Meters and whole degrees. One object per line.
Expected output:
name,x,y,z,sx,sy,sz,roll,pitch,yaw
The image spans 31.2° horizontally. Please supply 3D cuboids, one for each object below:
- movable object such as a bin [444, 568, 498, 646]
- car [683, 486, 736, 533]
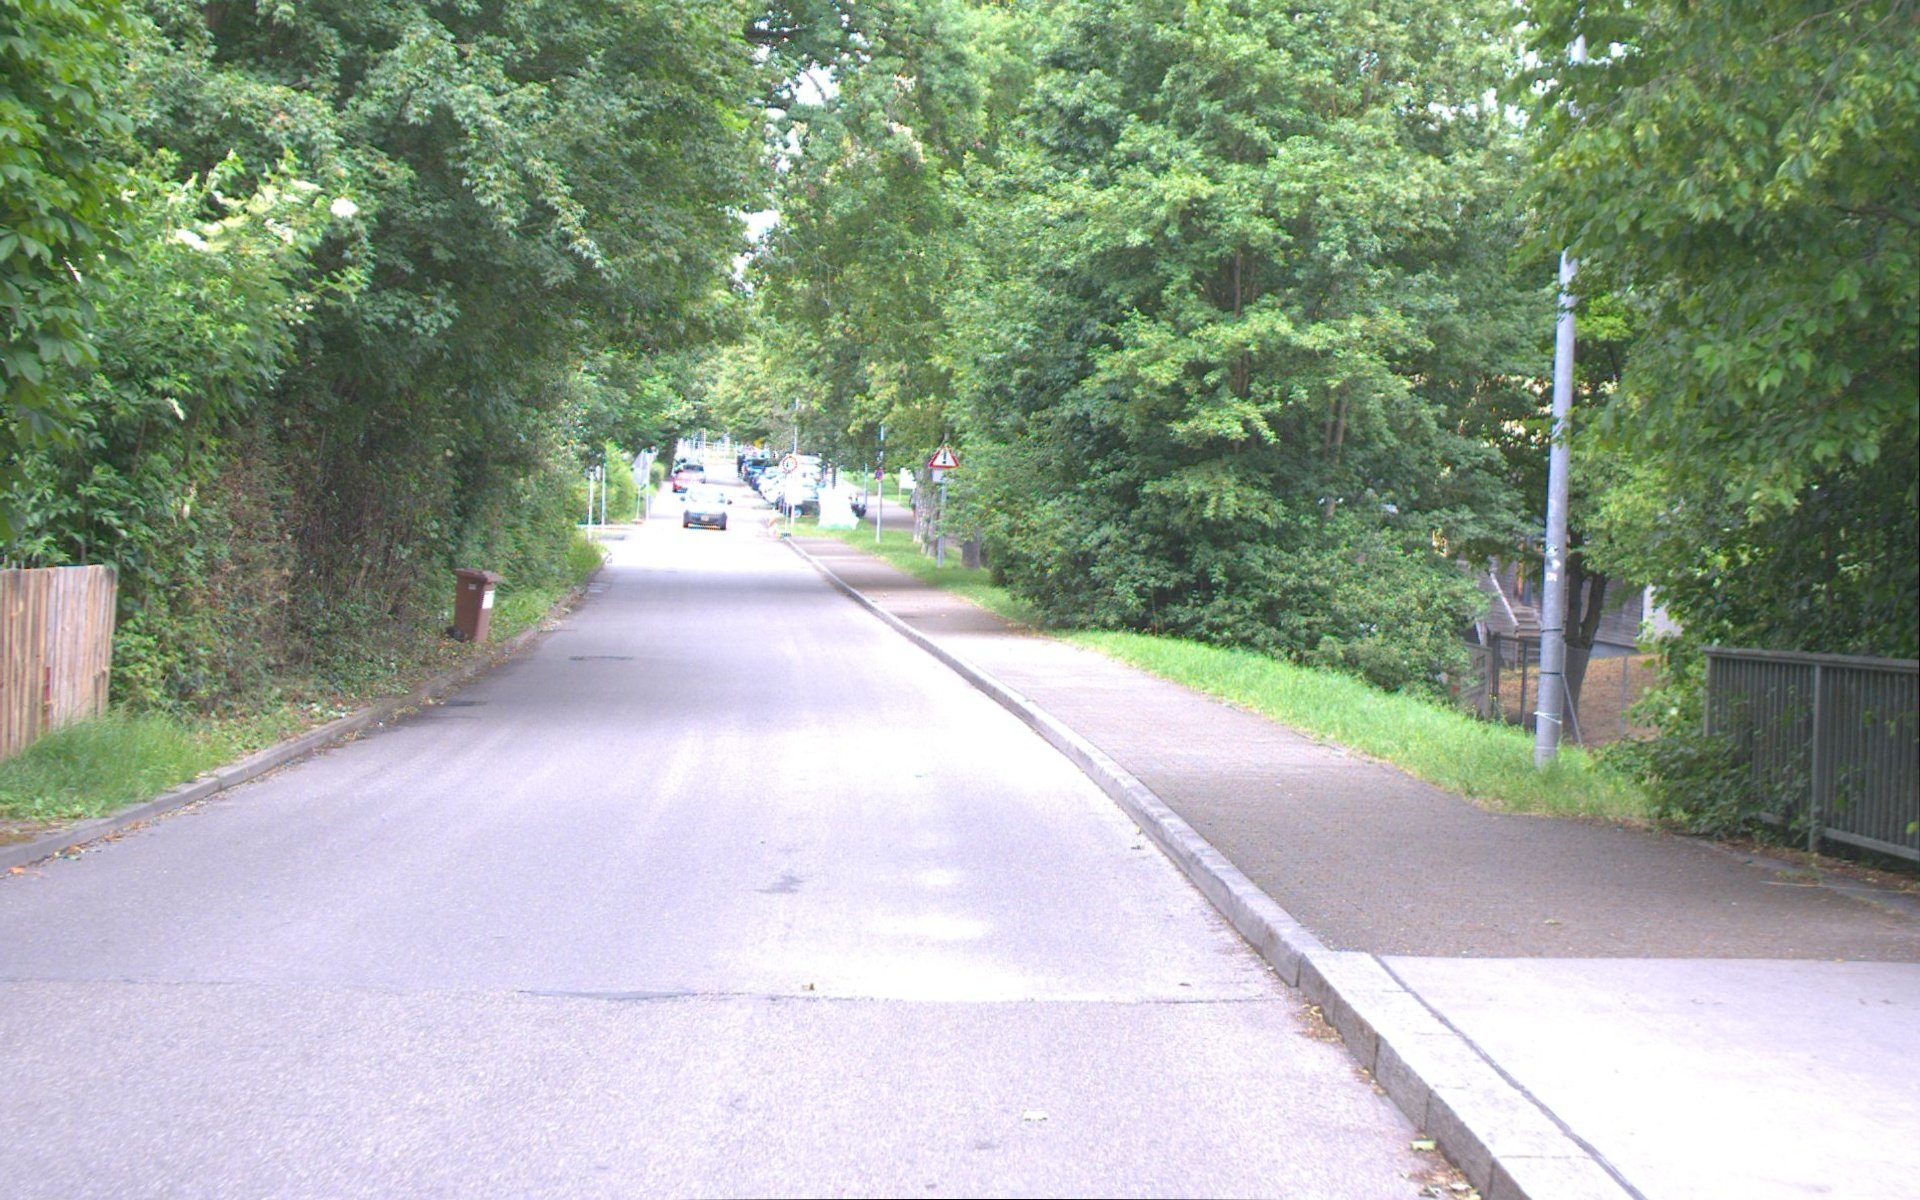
movable object such as a bin,-6.122,0.087,43.028,0.590,0.954,0.470,2,0,-3
car,-10.193,-3.680,140.174,1.993,1.766,4.000,2,0,-3
